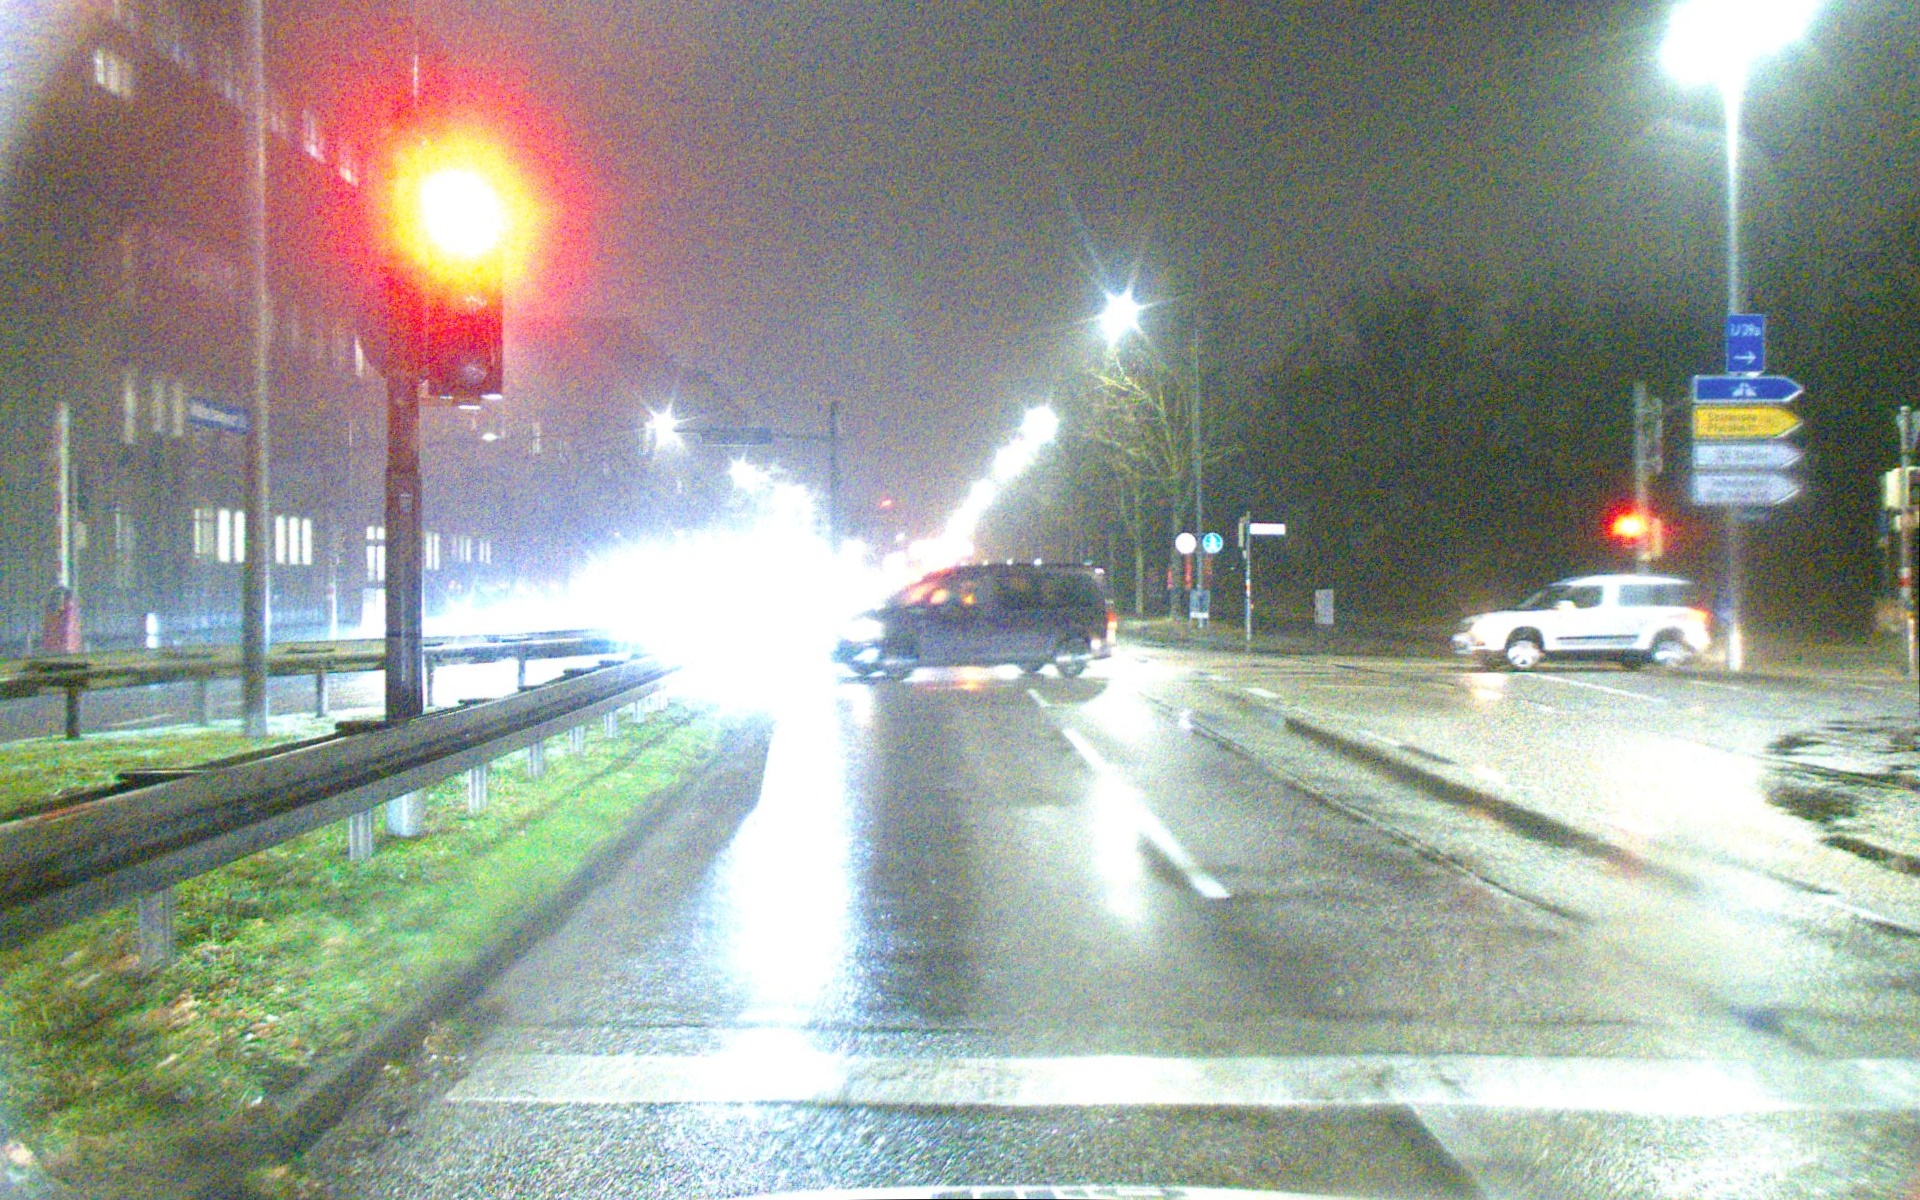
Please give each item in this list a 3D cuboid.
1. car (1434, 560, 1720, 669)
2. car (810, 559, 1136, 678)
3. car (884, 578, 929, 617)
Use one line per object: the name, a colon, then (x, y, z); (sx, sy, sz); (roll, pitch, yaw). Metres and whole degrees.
car: (10.715, 0.252, 28.963); (4.293, 1.771, 1.910); (1, 0, 1)
car: (0.206, 0.314, 26.408); (4.831, 1.771, 1.959); (1, 0, -21)
car: (-2.460, -0.093, 77.232); (1.953, 1.735, 4.632); (1, 0, -1)
